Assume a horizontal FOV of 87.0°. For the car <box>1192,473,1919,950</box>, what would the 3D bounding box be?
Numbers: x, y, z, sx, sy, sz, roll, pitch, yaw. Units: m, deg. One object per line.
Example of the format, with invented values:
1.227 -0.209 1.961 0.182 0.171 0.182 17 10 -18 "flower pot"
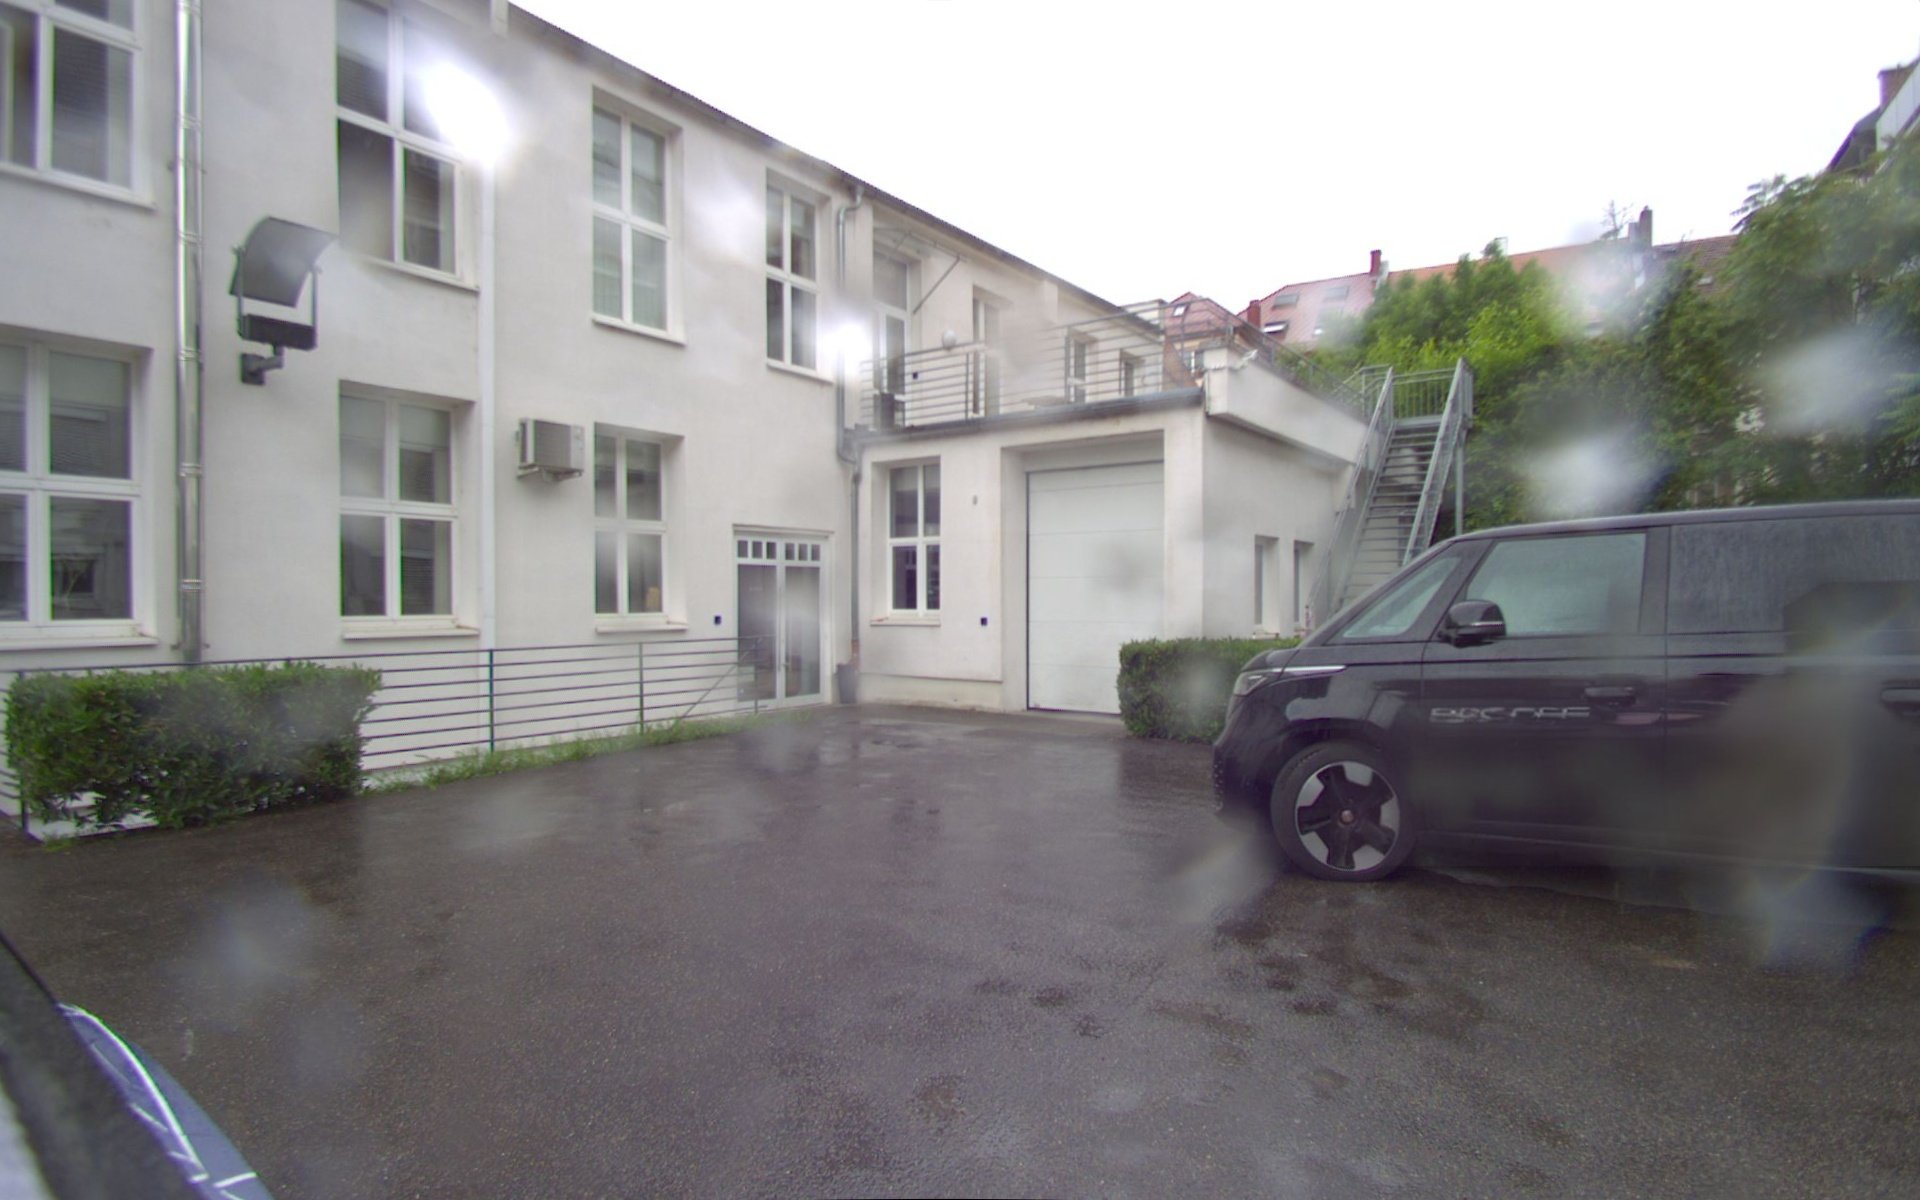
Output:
3.702 0.466 5.298 4.501 1.912 2.027 -1 -1 28 "car"
